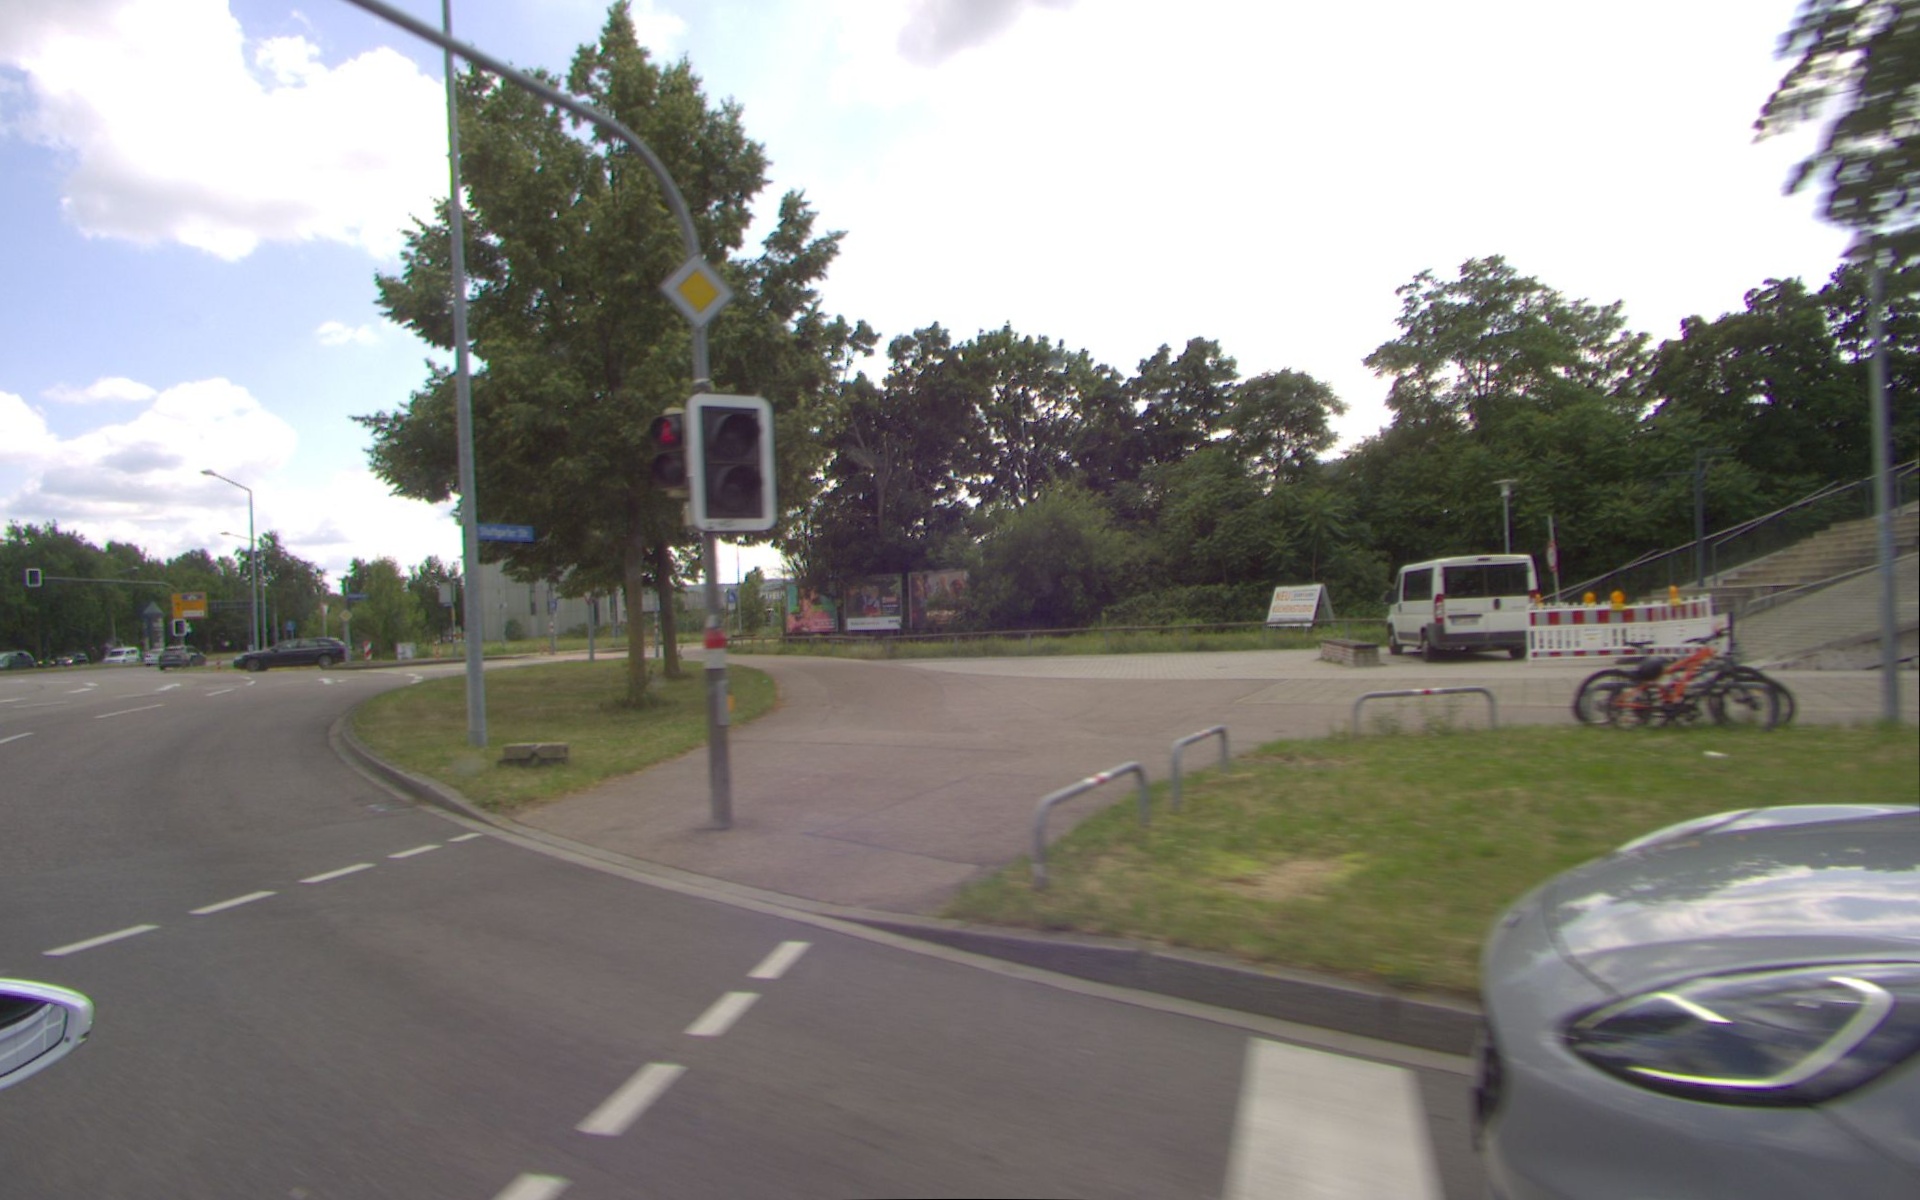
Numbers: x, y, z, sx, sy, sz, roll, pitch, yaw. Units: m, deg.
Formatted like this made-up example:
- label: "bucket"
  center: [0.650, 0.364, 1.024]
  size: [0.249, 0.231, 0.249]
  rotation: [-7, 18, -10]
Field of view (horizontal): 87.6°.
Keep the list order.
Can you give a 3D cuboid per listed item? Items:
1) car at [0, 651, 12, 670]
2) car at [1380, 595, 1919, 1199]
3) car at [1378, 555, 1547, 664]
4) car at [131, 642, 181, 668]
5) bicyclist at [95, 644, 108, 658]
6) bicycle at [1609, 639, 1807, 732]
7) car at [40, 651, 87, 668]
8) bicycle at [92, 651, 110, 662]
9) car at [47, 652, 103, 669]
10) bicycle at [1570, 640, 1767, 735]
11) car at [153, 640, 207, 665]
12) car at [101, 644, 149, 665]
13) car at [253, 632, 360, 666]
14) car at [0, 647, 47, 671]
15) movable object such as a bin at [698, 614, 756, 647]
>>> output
- label: "car"
  center: [-74.550, 4.691, 76.252]
  size: [1.879, 1.441, 4.182]
  rotation: [-2, -1, -20]
- label: "car"
  center: [2.764, 0.689, 1.067]
  size: [4.035, 1.490, 1.666]
  rotation: [-3, -1, 32]
- label: "car"
  center: [11.299, 0.246, 22.987]
  size: [2.109, 2.175, 5.149]
  rotation: [-1, -1, 11]
- label: "car"
  center: [-65.830, 4.467, 82.051]
  size: [1.966, 2.039, 3.991]
  rotation: [-1, -2, -21]
- label: "bicyclist"
  center: [-96.347, 5.751, 112.392]
  size: [0.818, 1.585, 0.882]
  rotation: [0, -1, -18]
- label: "bicycle"
  center: [7.097, 0.807, 9.559]
  size: [1.450, 0.837, 0.357]
  rotation: [-2, 0, 25]
- label: "car"
  center: [-83.189, 5.498, 92.947]
  size: [1.592, 1.365, 4.164]
  rotation: [-4, -1, -17]
- label: "bicycle"
  center: [-96.318, 6.315, 112.305]
  size: [0.750, 1.234, 2.013]
  rotation: [0, -2, -18]
- label: "car"
  center: [-79.475, 5.409, 89.965]
  size: [1.811, 1.327, 4.781]
  rotation: [-4, -1, -16]
- label: "bicycle"
  center: [6.630, 0.811, 9.435]
  size: [1.450, 0.837, 0.357]
  rotation: [-2, 0, 25]
- label: "car"
  center: [-56.330, 3.753, 72.396]
  size: [1.967, 1.647, 4.297]
  rotation: [-1, -1, -22]
- label: "car"
  center: [-81.642, 5.308, 97.991]
  size: [1.811, 1.823, 4.780]
  rotation: [-4, 0, -17]
- label: "car"
  center: [-30.633, 2.299, 47.083]
  size: [3.935, 1.482, 1.684]
  rotation: [0, -1, -23]
- label: "car"
  center: [-70.799, 4.418, 74.860]
  size: [1.880, 1.613, 4.586]
  rotation: [-2, -1, -16]
- label: "movable object such as a bin"
  center: [-28.615, 3.792, 123.366]
  size: [3.000, 3.900, 7.596]
  rotation: [-2, -3, 25]
